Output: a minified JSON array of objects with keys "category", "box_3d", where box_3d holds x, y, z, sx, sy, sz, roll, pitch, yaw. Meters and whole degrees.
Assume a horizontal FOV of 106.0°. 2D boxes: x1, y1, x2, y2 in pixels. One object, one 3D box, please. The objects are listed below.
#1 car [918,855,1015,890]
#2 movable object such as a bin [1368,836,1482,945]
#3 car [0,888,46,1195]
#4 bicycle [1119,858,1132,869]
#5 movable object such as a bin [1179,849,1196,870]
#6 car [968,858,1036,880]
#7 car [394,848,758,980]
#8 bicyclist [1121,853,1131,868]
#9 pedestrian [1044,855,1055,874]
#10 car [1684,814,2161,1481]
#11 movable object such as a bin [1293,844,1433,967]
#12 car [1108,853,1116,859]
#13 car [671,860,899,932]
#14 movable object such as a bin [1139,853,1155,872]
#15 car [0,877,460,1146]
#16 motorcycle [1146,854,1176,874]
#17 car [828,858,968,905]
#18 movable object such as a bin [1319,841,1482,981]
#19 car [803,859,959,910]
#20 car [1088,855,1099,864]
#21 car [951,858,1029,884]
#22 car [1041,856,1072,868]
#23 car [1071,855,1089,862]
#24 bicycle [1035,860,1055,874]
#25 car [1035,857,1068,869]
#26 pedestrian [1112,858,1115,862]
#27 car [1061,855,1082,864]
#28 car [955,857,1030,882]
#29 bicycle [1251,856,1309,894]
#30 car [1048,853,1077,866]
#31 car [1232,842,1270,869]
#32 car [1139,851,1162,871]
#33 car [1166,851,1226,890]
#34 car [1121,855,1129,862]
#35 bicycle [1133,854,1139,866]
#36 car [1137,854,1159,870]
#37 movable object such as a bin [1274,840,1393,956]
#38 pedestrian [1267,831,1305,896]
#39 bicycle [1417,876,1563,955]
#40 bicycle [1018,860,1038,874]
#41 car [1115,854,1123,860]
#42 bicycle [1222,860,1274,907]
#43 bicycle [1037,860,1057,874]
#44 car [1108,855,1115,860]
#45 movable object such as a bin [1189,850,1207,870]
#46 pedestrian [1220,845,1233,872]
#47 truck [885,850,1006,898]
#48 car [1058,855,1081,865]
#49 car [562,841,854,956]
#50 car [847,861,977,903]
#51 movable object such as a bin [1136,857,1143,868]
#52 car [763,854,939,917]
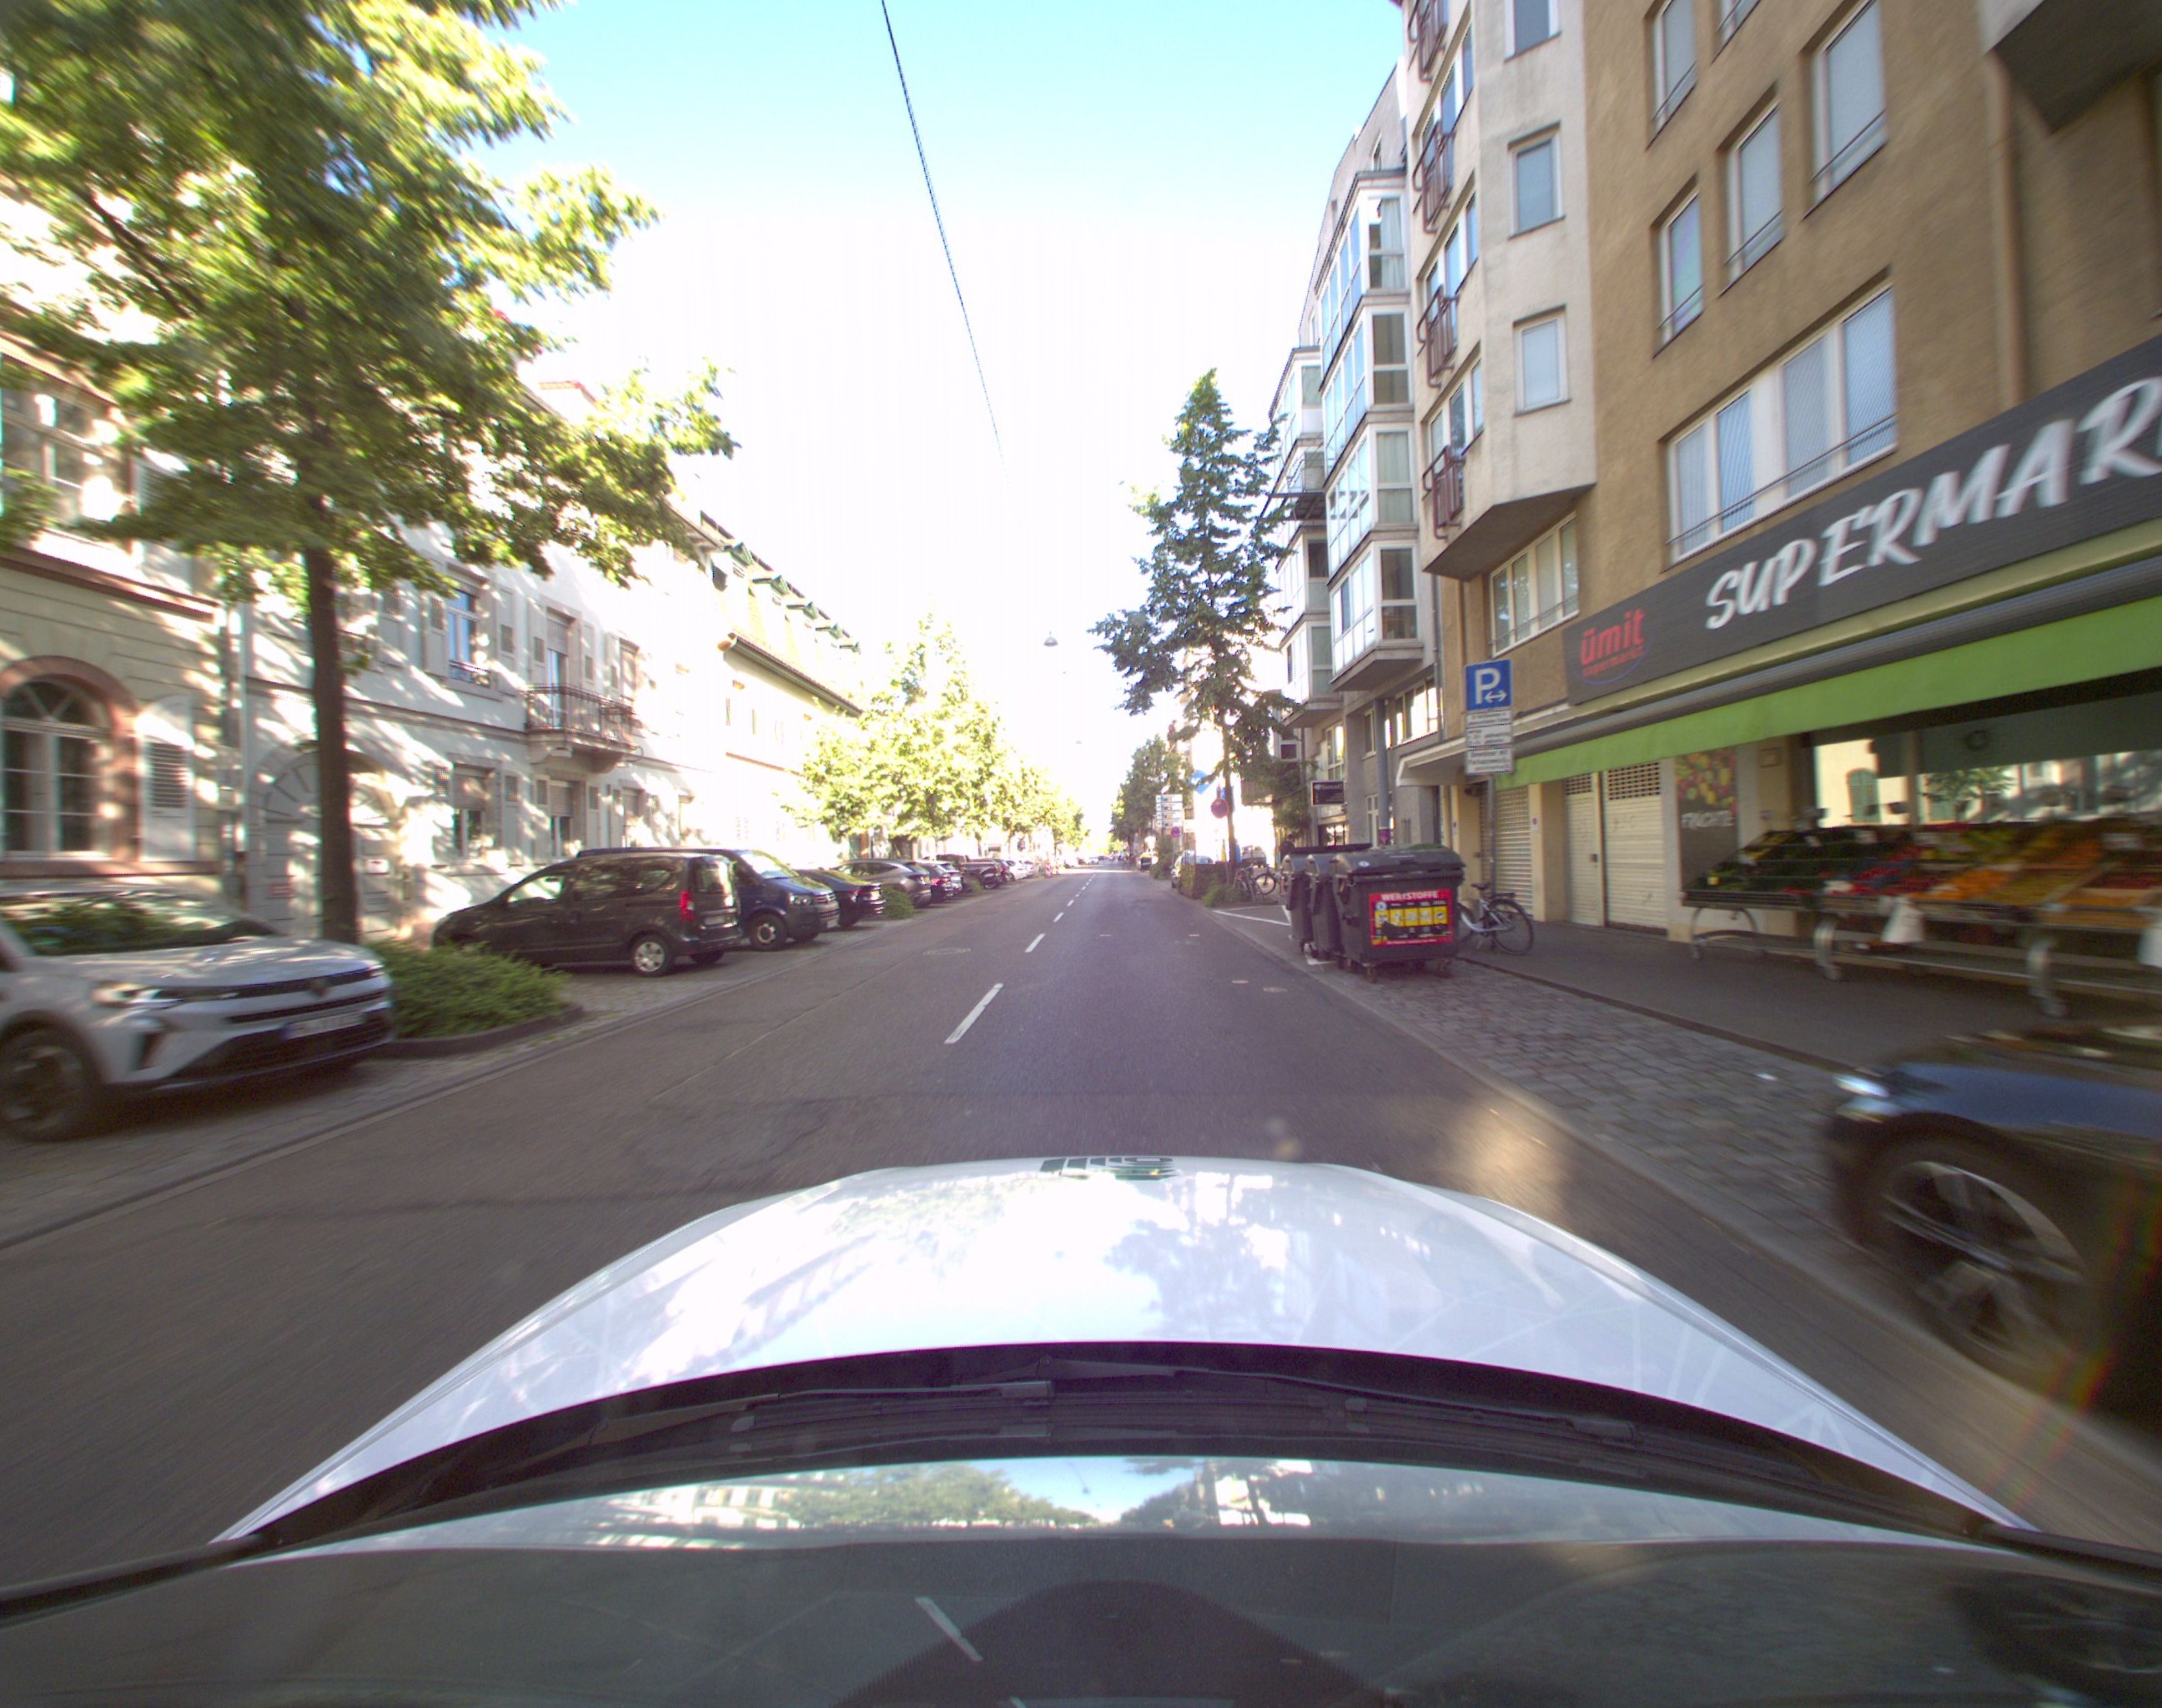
[{"category":"car","box_3d":[-5.932,0.947,42.502,4.661,1.693,1.809,-2,0,3]},{"category":"movable object such as a bin","box_3d":[4.893,0.501,11.687,1.073,1.431,1.296,-3,0,2]},{"category":"car","box_3d":[-7.723,1.010,3.359,4.450,1.541,1.917,-2,0,1]},{"category":"bicycle","box_3d":[4.905,1.055,89.397,0.759,1.059,1.967,-2,0,26]},{"category":"movable object such as a bin","box_3d":[8.795,0.444,67.263,1.201,1.627,1.498,-3,0,0]},{"category":"car","box_3d":[-5.629,1.042,58.643,4.667,1.412,1.807,-2,0,-2]},{"category":"car","box_3d":[-7.645,0.871,12.633,4.447,1.772,1.918,-2,0,3]},{"category":"bicyclist","box_3d":[4.945,0.719,89.464,0.759,1.560,1.047,-2,0,26]},{"category":"pedestrian","box_3d":[-2.972,0.979,76.905,0.797,1.707,0.759,-1,0,-31]},{"category":"car","box_3d":[3.317,0.647,0.827,1.815,1.472,4.914,-5,0,2]},{"category":"movable object such as a bin","box_3d":[3.598,0.635,10.551,1.393,1.454,1.146,-3,0,2]},{"category":"car","box_3d":[7.925,0.584,206.055,1.816,1.391,4.302,-5,0,1]},{"category":"car","box_3d":[-6.777,0.946,18.928,4.628,1.459,1.684,-2,0,1]},{"category":"movable object such as a bin","box_3d":[5.641,0.690,69.912,1.135,1.562,1.463,-3,0,10]},{"category":"car","box_3d":[-7.455,1.017,5.955,4.444,1.541,1.919,-2,0,5]},{"category":"motorcycle","box_3d":[5.875,0.732,59.562,1.978,1.330,0.908,-2,0,-11]},{"category":"car","box_3d":[-6.699,1.003,30.106,4.661,1.572,1.809,-2,0,3]},{"category":"movable object such as a bin","box_3d":[3.623,0.619,9.386,1.393,1.454,1.146,-3,0,2]},{"category":"car","box_3d":[-6.568,0.983,27.033,4.661,1.519,1.809,-2,0,3]},{"category":"car","box_3d":[2.258,0.920,142.412,1.796,1.435,4.410,-5,0,1]},{"category":"car","box_3d":[-5.618,1.033,50.678,4.667,1.465,1.807,-2,0,-2]},{"category":"car","box_3d":[-3.190,1.052,108.197,3.973,1.390,2.000,-2,0,0]},{"category":"car","box_3d":[-0.257,1.060,188.834,3.973,1.500,2.000,-2,0,0]},{"category":"bicycle","box_3d":[-3.378,1.207,77.252,1.852,1.252,0.599,-1,0,-6]},{"category":"car","box_3d":[-3.731,1.118,102.418,3.973,1.390,2.000,-2,0,0]},{"category":"pedestrian","box_3d":[8.190,1.592,203.971,0.544,1.026,0.546,-3,0,0]},{"category":"car","box_3d":[-1.762,0.968,154.648,3.973,1.500,2.000,-2,0,0]},{"category":"car","box_3d":[-5.740,1.018,53.332,4.667,1.465,1.807,-2,0,-2]},{"category":"bicycle","box_3d":[6.262,0.667,25.657,0.686,1.148,1.665,-2,0,-40]},{"category":"car","box_3d":[-2.681,0.834,121.107,3.966,1.694,2.004,-2,0,6]},{"category":"car","box_3d":[11.421,0.091,54.958,1.893,1.648,4.297,-3,0,3]},{"category":"car","box_3d":[6.277,0.634,74.216,1.815,1.679,4.603,-5,0,2]},{"category":"car","box_3d":[4.734,0.637,34.107,1.894,1.412,4.649,-4,0,2]},{"category":"car","box_3d":[11.114,1.141,207.082,1.986,1.508,4.001,-2,-1,1]},{"category":"bicycle","box_3d":[7.133,0.755,106.066,0.558,1.441,1.629,-8,0,2]},{"category":"car","box_3d":[6.492,0.782,79.534,1.816,1.391,4.302,-5,0,1]},{"category":"movable object such as a bin","box_3d":[3.593,0.604,11.716,1.325,1.542,1.146,-3,0,2]},{"category":"pedestrian","box_3d":[6.274,0.285,24.905,0.916,1.935,0.765,-2,0,27]},{"category":"bicycle","box_3d":[5.047,0.744,10.174,0.570,0.872,1.630,-3,-2,-20]},{"category":"bicycle","box_3d":[-4.949,1.236,76.100,1.775,1.252,0.602,-1,0,13]},{"category":"car","box_3d":[10.531,0.939,226.580,1.986,1.508,4.001,-2,-1,1]},{"category":"bicycle","box_3d":[4.457,0.751,21.908,0.607,1.120,2.051,-9,1,-7]},{"category":"bicycle","box_3d":[-3.204,1.223,76.233,1.852,1.252,0.599,-1,0,-6]},{"category":"car","box_3d":[8.281,0.911,220.735,1.785,1.411,4.002,-2,0,2]},{"category":"movable object such as a bin","box_3d":[9.450,0.462,65.878,1.266,1.530,1.176,-3,0,0]},{"category":"pedestrian","box_3d":[10.254,0.328,57.323,0.704,1.850,0.689,-3,0,3]},{"category":"truck","box_3d":[-6.141,0.891,37.291,5.066,1.938,2.000,-3,0,1]},{"category":"car","box_3d":[-2.057,1.080,143.876,3.973,1.500,2.000,-2,0,0]},{"category":"car","box_3d":[-6.985,0.816,15.586,4.661,1.950,1.918,-2,0,3]},{"category":"car","box_3d":[-6.640,1.091,32.330,4.661,1.463,1.810,-2,0,3]},{"category":"movable object such as a bin","box_3d":[6.259,0.920,87.025,0.619,1.180,0.711,-2,0,0]},{"category":"car","box_3d":[-6.798,0.915,24.355,4.661,1.712,1.809,-2,0,3]}]
